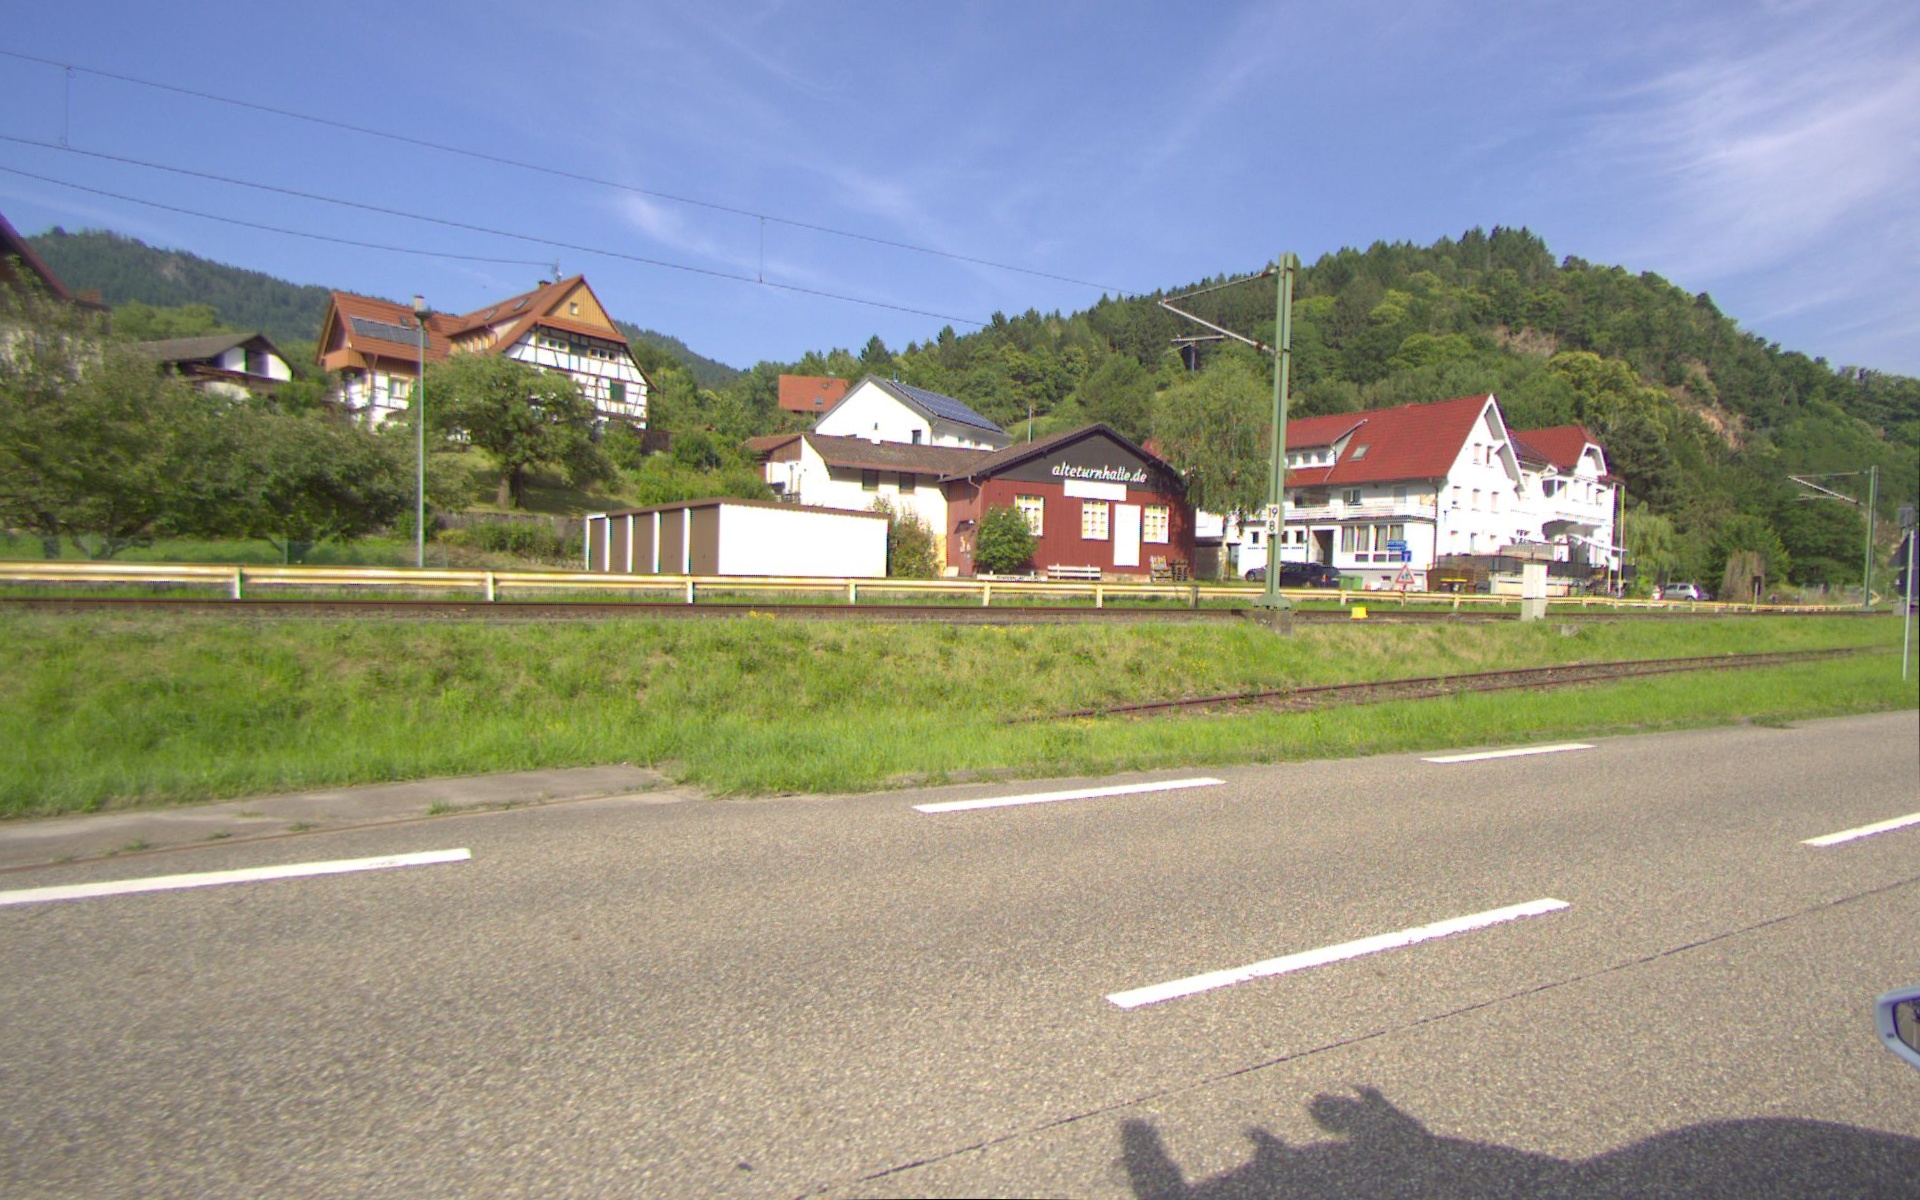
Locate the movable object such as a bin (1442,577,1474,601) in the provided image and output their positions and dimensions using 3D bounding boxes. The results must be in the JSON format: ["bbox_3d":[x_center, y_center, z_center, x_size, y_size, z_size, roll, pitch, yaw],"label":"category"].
[{"bbox_3d":[26.294,-0.583,53.001,1.132,1.208,1.082,0,3,-37],"label":"movable object such as a bin"}]

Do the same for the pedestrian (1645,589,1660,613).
[{"bbox_3d":[48.121,0.091,69.803,0.672,1.638,0.601,-1,3,-39],"label":"pedestrian"}]

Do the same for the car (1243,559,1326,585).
[{"bbox_3d":[18.119,-1.594,56.294,1.737,1.347,4.224,-1,3,-35],"label":"car"}]

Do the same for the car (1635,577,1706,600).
[{"bbox_3d":[55.510,-0.911,78.551,1.981,1.714,4.114,0,2,-37],"label":"car"}]

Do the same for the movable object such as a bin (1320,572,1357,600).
[{"bbox_3d":[16.840,-0.634,44.711,1.085,1.208,1.129,0,3,-42],"label":"movable object such as a bin"}]

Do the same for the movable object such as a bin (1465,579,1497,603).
[{"bbox_3d":[27.046,-0.463,52.124,1.132,1.208,1.082,0,3,-37],"label":"movable object such as a bin"}]

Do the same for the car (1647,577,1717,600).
[{"bbox_3d":[57.596,-0.937,80.141,1.981,1.714,4.114,0,2,-37],"label":"car"}]

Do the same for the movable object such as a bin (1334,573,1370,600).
[{"bbox_3d":[17.752,-0.613,45.527,1.085,1.208,1.129,0,3,-42],"label":"movable object such as a bin"}]

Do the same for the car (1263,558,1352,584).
[{"bbox_3d":[17.811,-1.512,51.624,1.719,1.288,4.068,-1,3,-34],"label":"car"}]
